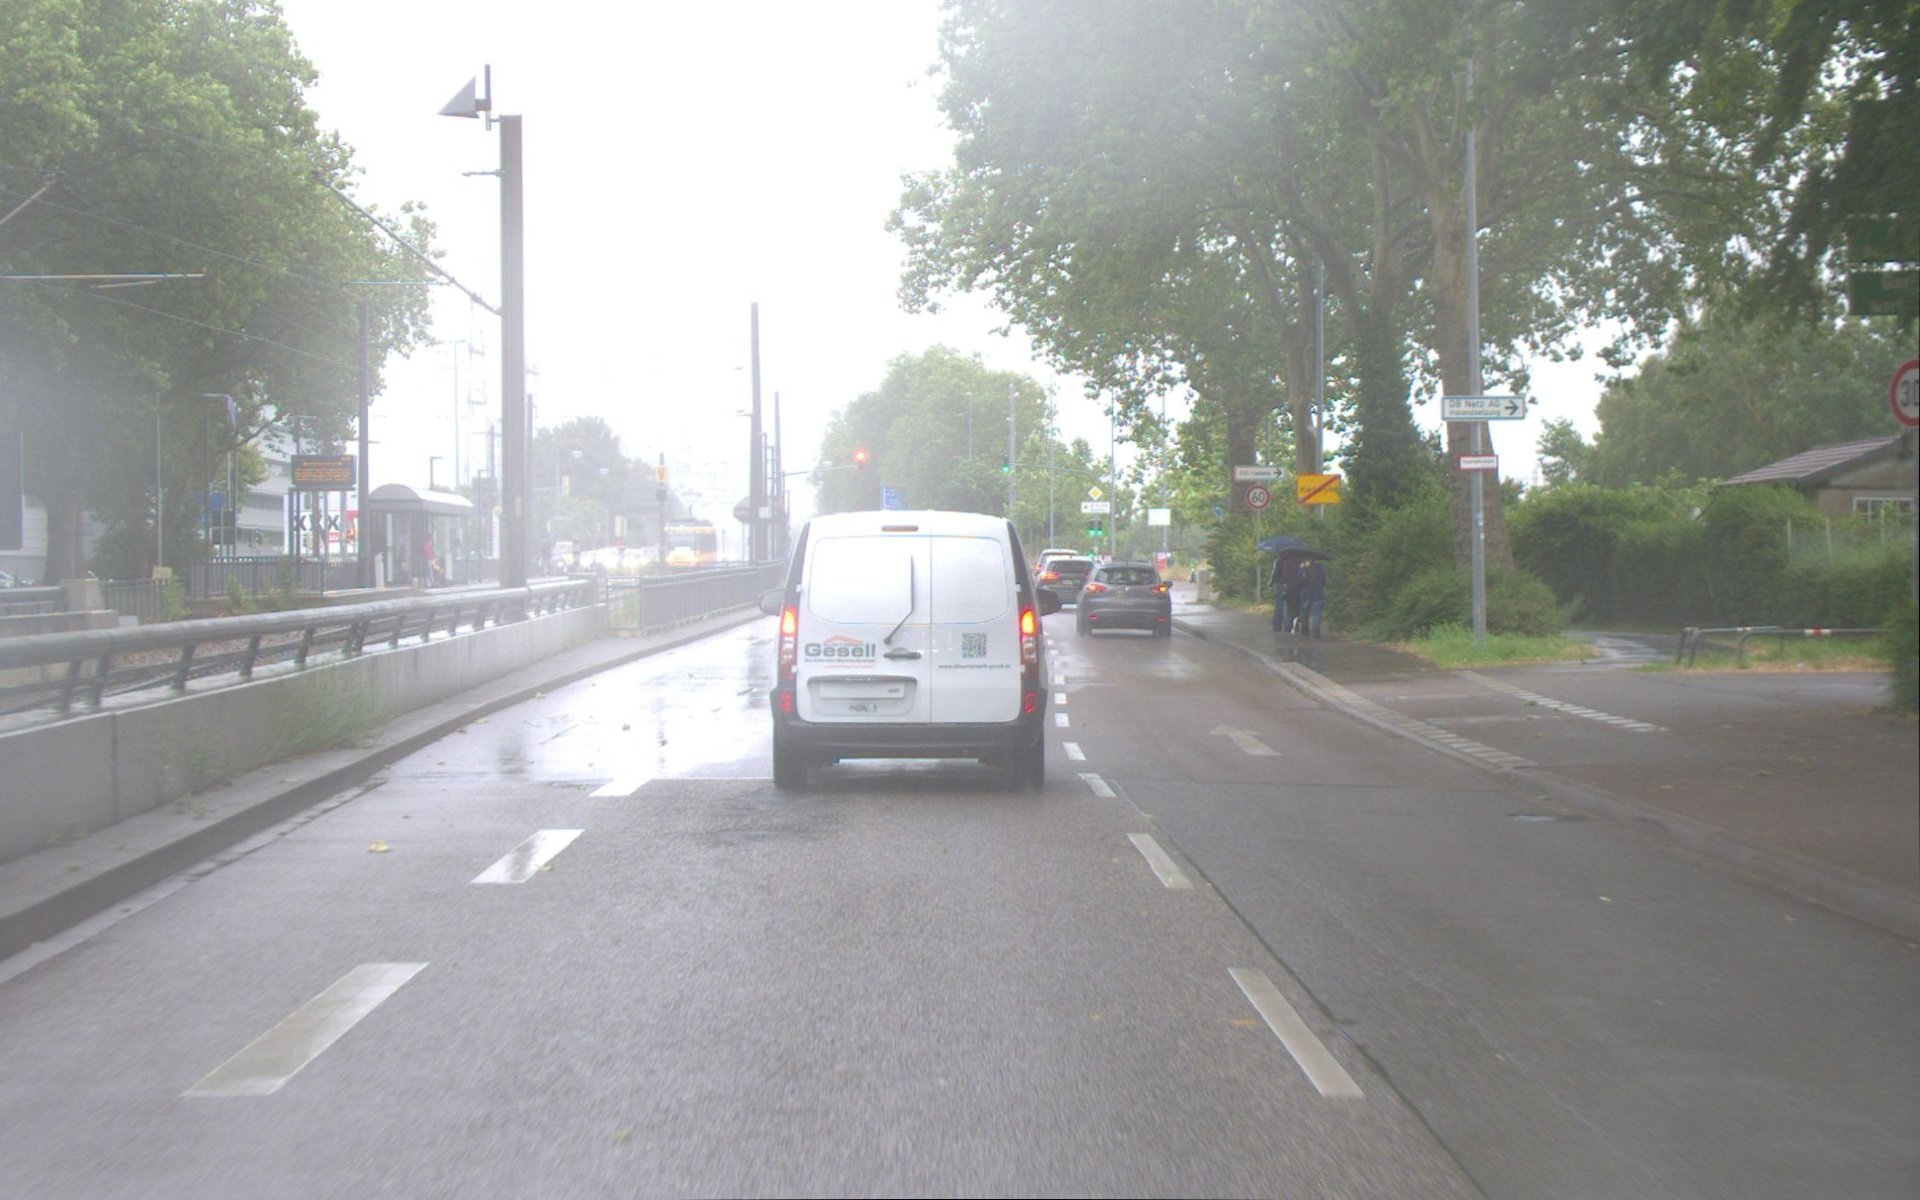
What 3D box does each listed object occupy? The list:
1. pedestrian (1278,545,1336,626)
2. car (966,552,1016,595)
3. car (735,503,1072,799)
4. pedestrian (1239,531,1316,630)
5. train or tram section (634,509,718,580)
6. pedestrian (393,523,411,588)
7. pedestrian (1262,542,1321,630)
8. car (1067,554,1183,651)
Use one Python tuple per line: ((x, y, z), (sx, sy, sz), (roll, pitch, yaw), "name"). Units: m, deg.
((6.084, -0.261, 60.372), (0.892, 1.385, 1.016), (-1, 0, 1), "pedestrian")
((1.345, -1.161, 148.618), (1.993, 1.744, 4.000), (2, 1, -1), "car")
((-0.438, 0.292, 23.392), (2.024, 1.769, 4.275), (2, 1, -2), "car")
((5.944, -0.367, 64.410), (1.240, 1.779, 1.147), (-3, 0, 1), "pedestrian")
((-17.601, -3.394, 214.924), (3.770, 4.023, 27.095), (2, 1, -2), "train or tram section")
((-17.275, -1.385, 106.459), (0.493, 2.007, 0.583), (2, 0, -8), "pedestrian")
((6.023, -0.262, 62.483), (0.947, 1.583, 1.294), (-1, 0, 1), "pedestrian")
((3.140, 0.030, 66.198), (1.993, 1.744, 4.000), (2, 1, 0), "car")
